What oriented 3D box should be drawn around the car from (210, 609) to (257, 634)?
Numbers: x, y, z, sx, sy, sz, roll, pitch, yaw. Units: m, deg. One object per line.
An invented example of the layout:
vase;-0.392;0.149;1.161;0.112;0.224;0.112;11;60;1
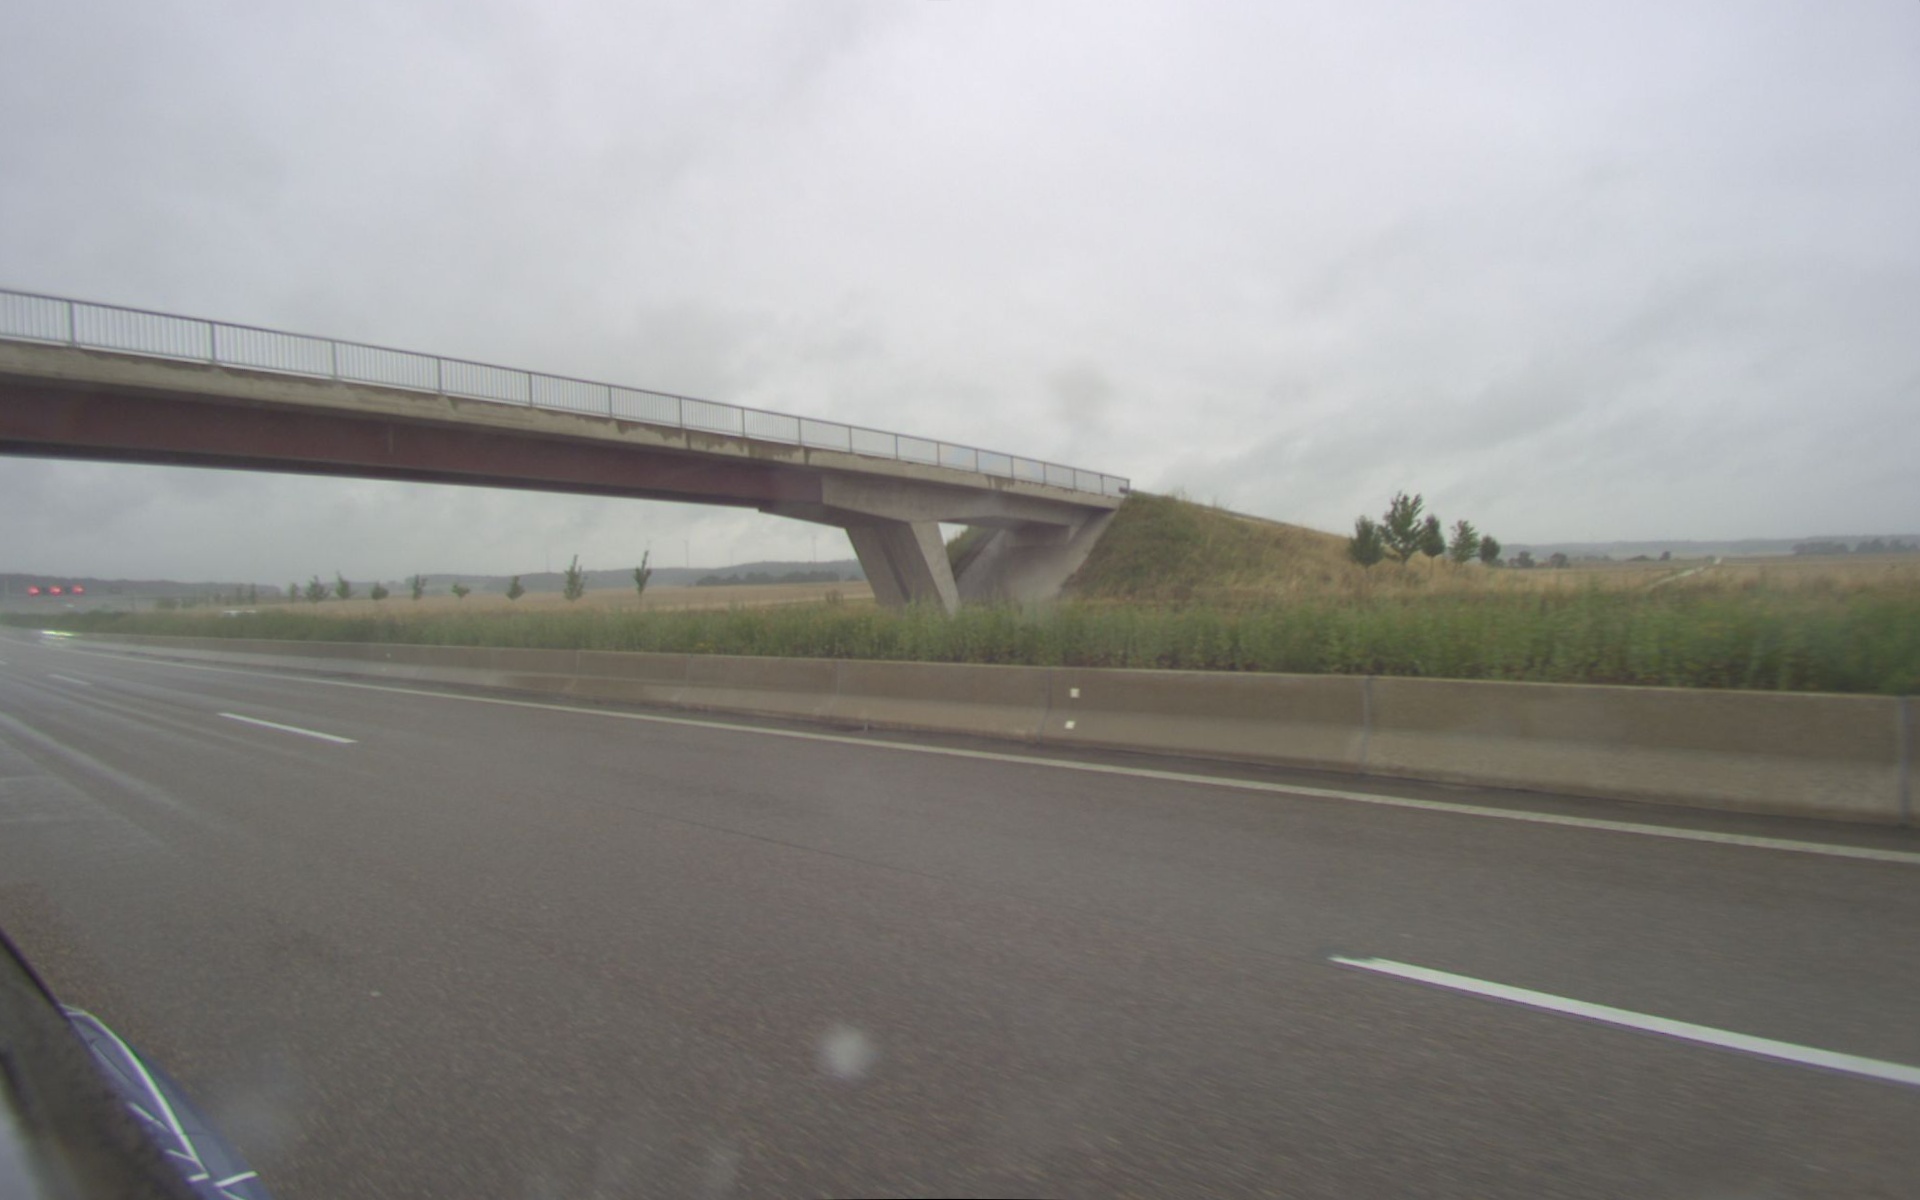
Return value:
car;-48.097;1.391;66.960;4.144;1.563;1.628;-1;0;41
